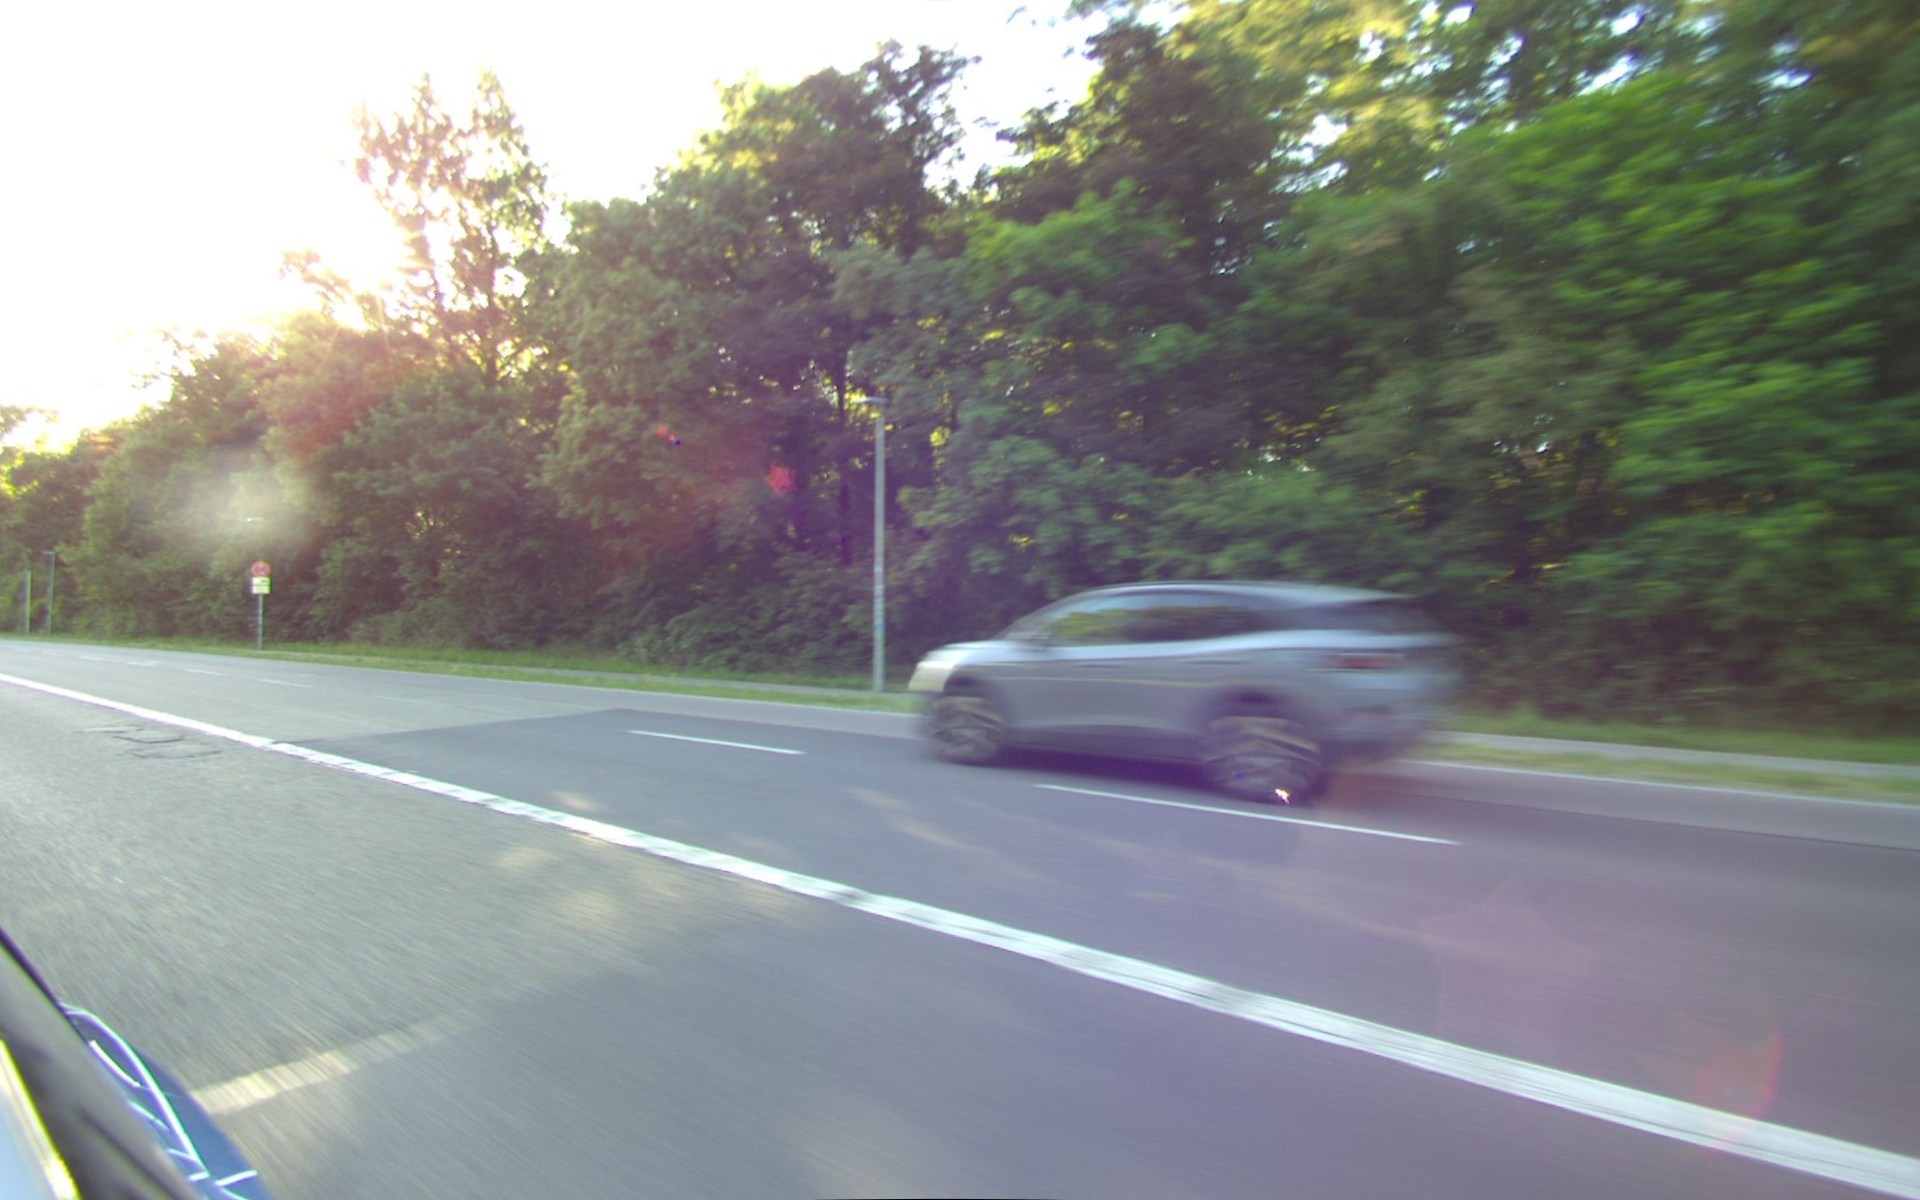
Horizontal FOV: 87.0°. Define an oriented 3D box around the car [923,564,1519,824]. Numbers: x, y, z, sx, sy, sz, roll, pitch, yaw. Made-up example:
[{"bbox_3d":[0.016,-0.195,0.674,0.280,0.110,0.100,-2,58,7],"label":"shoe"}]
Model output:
[{"bbox_3d":[1.974,0.603,8.467,4.446,1.623,1.876,-1,0,40],"label":"car"}]
